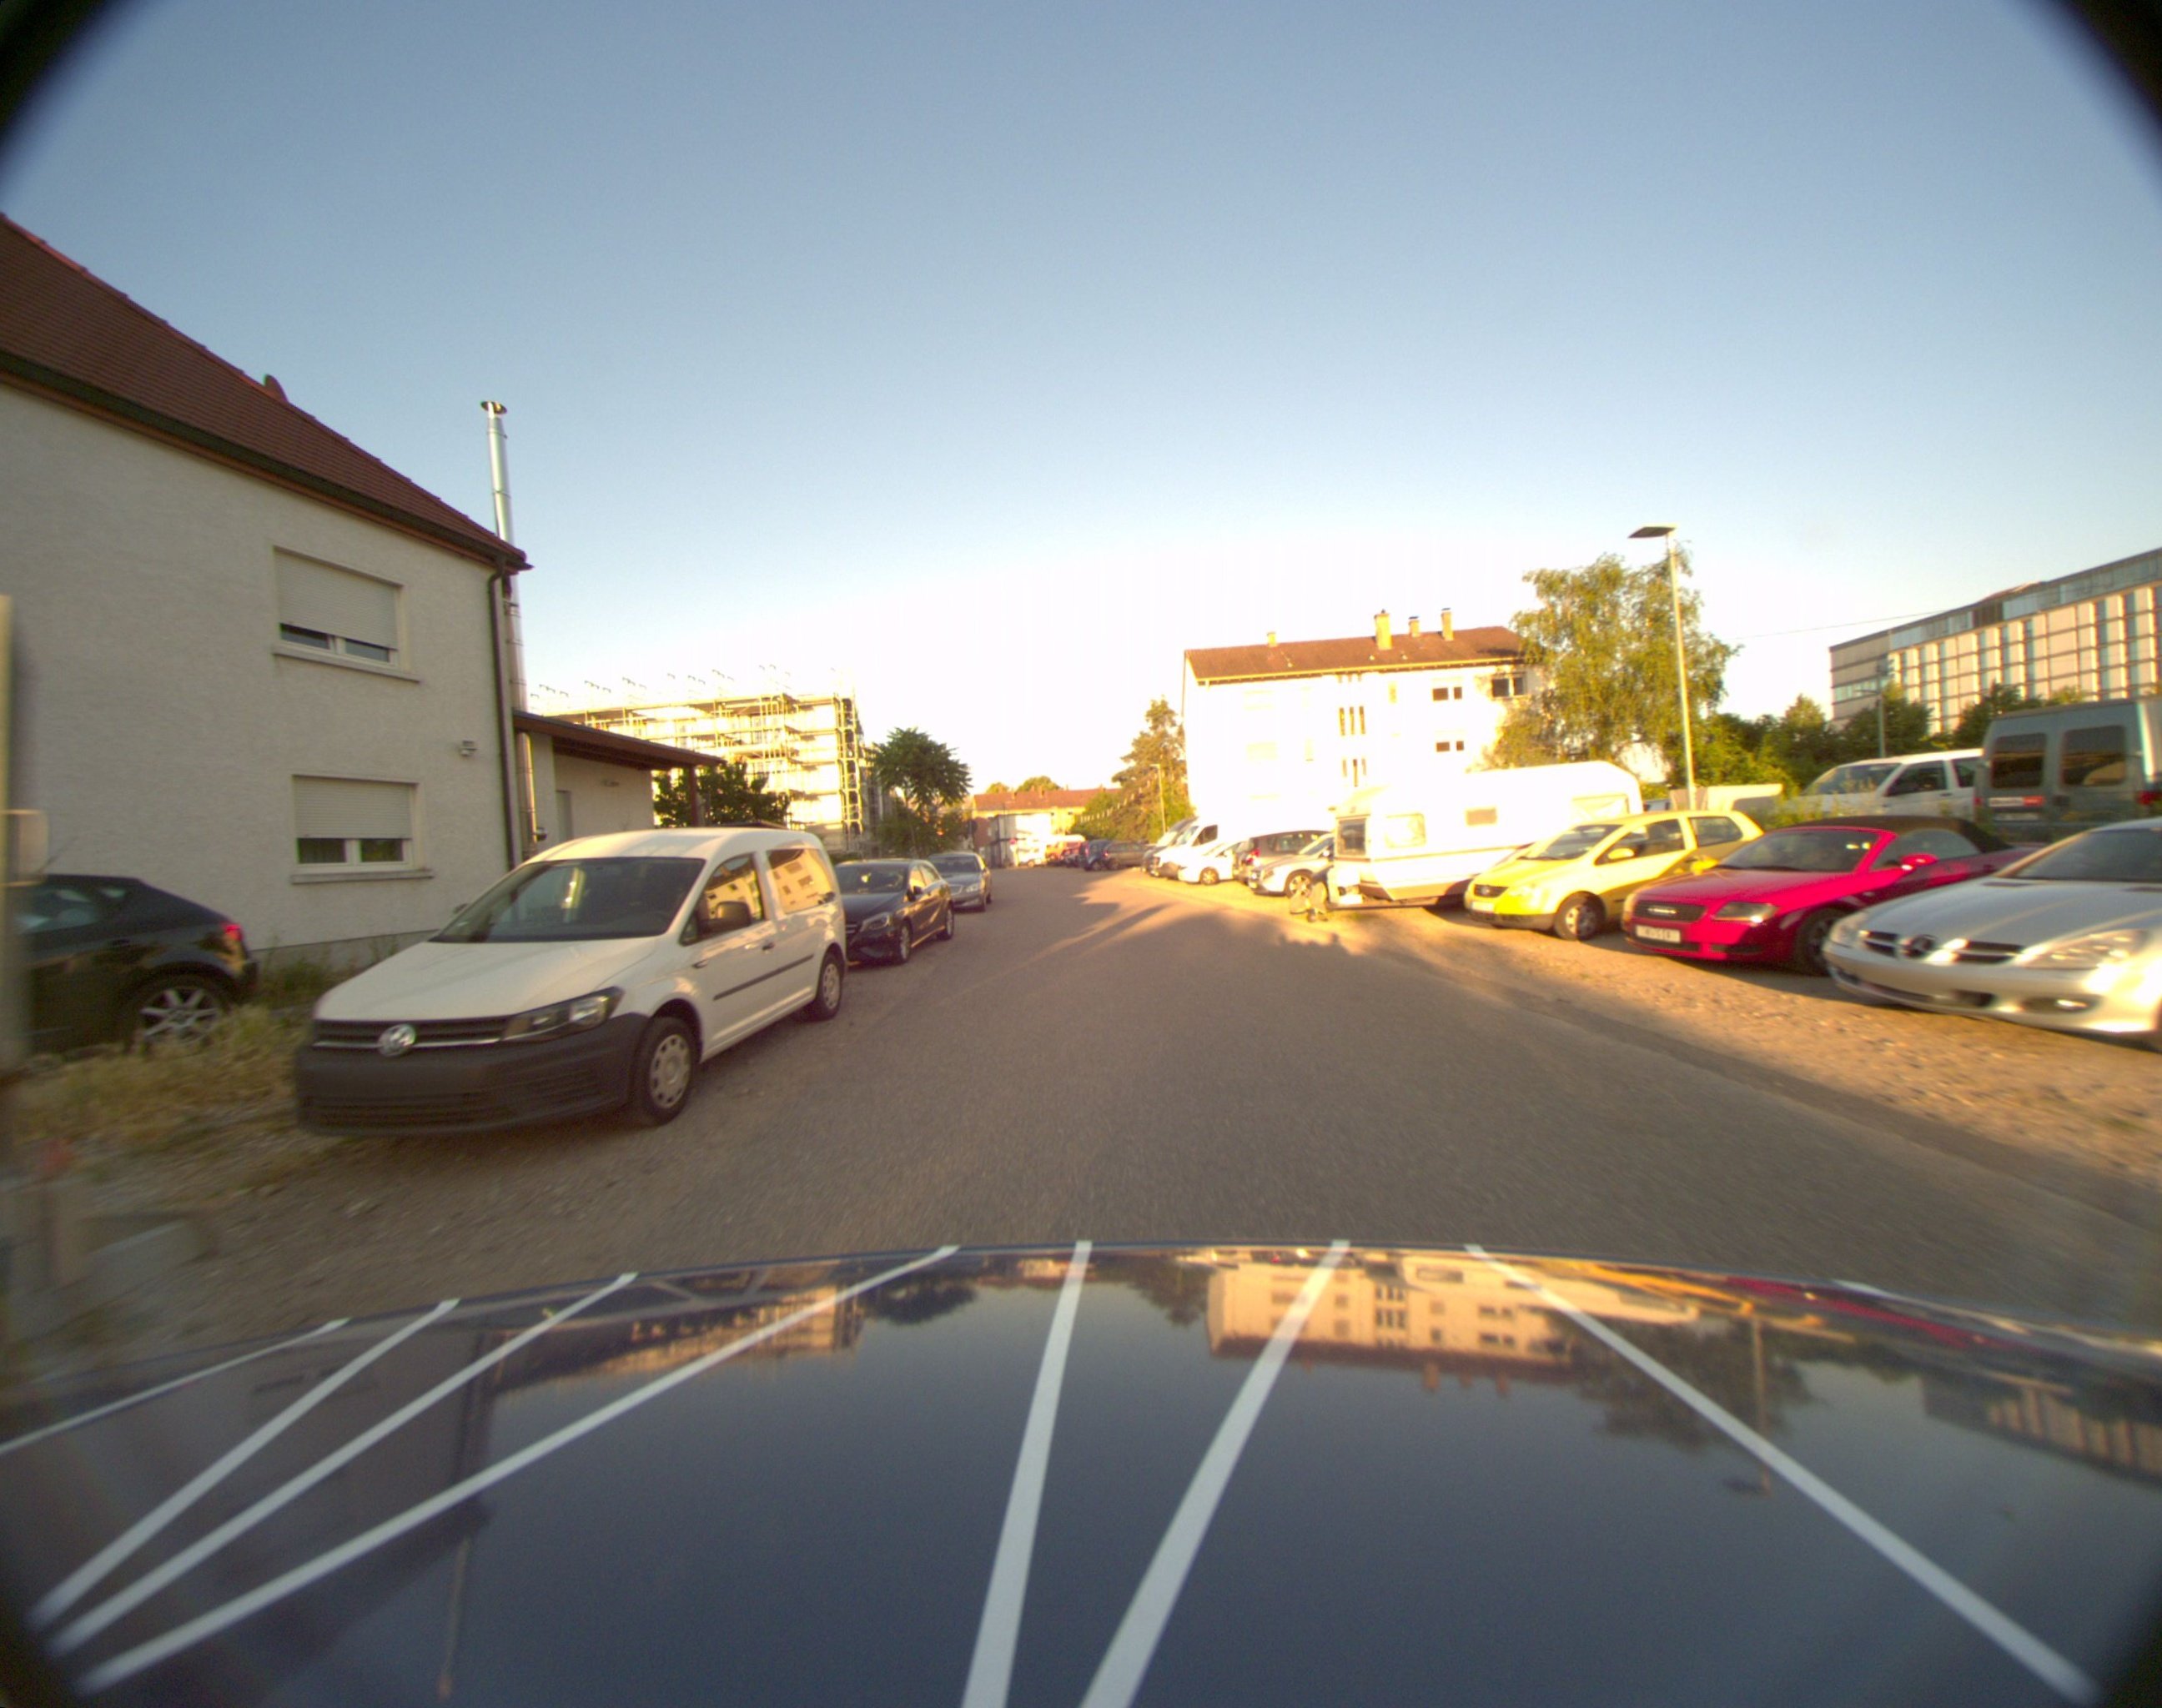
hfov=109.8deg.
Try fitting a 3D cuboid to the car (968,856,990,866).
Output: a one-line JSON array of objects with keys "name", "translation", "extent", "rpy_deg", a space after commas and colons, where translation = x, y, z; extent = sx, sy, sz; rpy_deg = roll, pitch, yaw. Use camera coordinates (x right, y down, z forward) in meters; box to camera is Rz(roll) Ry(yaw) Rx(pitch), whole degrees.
[{"name": "car", "translation": [-17.913, 1.219, 133.728], "extent": [3.729, 1.507, 1.808], "rpy_deg": [-6, 1, -9]}]

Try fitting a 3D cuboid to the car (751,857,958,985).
[{"name": "car", "translation": [-3.214, 0.871, 11.722], "extent": [1.708, 1.510, 4.088], "rpy_deg": [-3, 0, 3]}]

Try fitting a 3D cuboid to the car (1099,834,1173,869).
[{"name": "car", "translation": [3.162, -0.139, 44.230], "extent": [3.936, 1.642, 1.747], "rpy_deg": [-6, 1, -3]}]

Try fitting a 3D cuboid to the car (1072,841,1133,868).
[{"name": "car", "translation": [1.524, 0.050, 55.665], "extent": [4.102, 1.617, 1.821], "rpy_deg": [-4, -3, -9]}]

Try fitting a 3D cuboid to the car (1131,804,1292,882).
[{"name": "car", "translation": [5.648, -0.517, 33.049], "extent": [6.410, 2.698, 2.110], "rpy_deg": [-6, 2, -13]}]

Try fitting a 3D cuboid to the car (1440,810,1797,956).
[{"name": "car", "translation": [7.130, 0.348, 10.317], "extent": [3.638, 1.510, 1.705], "rpy_deg": [-5, 1, -4]}]

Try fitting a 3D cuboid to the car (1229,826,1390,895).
[{"name": "car", "translation": [6.341, 0.182, 21.398], "extent": [3.935, 1.581, 1.748], "rpy_deg": [-4, 1, 2]}]

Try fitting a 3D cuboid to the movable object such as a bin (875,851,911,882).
[{"name": "movable object such as a bin", "translation": [-14.856, 0.961, 60.477], "extent": [2.072, 2.260, 8.360], "rpy_deg": [-3, 0, -10]}]

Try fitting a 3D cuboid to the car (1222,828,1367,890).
[{"name": "car", "translation": [6.632, 0.123, 23.815], "extent": [3.937, 1.582, 1.747], "rpy_deg": [-4, 2, -6]}]

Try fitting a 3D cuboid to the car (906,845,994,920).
[{"name": "car", "translation": [-3.382, 0.663, 20.443], "extent": [1.811, 1.714, 4.926], "rpy_deg": [-2, 0, -4]}]

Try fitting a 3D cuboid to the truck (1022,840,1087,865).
[{"name": "truck", "translation": [-2.672, -0.171, 75.219], "extent": [6.031, 2.031, 2.354], "rpy_deg": [-4, 1, -8]}]

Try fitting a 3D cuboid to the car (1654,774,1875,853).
[{"name": "car", "translation": [15.995, -0.915, 17.916], "extent": [3.613, 1.468, 1.665], "rpy_deg": [-5, 1, 1]}]

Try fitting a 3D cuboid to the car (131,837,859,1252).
[{"name": "car", "translation": [-3.291, 0.837, 5.633], "extent": [1.775, 1.820, 4.407], "rpy_deg": [-3, 1, 2]}]

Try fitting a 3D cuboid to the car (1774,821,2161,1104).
[{"name": "car", "translation": [7.184, 0.508, 4.949], "extent": [3.818, 1.321, 1.692], "rpy_deg": [-5, 1, -3]}]

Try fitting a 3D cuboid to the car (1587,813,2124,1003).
[{"name": "car", "translation": [7.488, 0.464, 7.589], "extent": [3.736, 1.359, 1.705], "rpy_deg": [-5, 1, -4]}]

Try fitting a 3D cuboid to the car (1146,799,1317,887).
[{"name": "car", "translation": [5.659, -0.429, 28.945], "extent": [5.843, 2.697, 2.049], "rpy_deg": [-6, 1, -8]}]

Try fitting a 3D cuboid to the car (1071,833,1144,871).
[{"name": "car", "translation": [1.610, -0.110, 46.466], "extent": [3.940, 1.900, 1.746], "rpy_deg": [-6, 1, -19]}]

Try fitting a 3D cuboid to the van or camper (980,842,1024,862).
[{"name": "van or camper", "translation": [-12.583, -0.326, 120.913], "extent": [6.475, 2.625, 2.405], "rpy_deg": [-6, 1, -10]}]

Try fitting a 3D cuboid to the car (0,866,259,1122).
[{"name": "car", "translation": [-7.638, 0.973, 4.158], "extent": [1.639, 1.511, 3.904], "rpy_deg": [-3, 2, 9]}]

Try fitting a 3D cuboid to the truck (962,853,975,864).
[{"name": "truck", "translation": [-22.636, 0.861, 152.510], "extent": [1.844, 2.090, 3.735], "rpy_deg": [-6, 1, -18]}]

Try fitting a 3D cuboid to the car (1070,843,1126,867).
[{"name": "car", "translation": [1.211, 0.066, 55.442], "extent": [3.936, 1.508, 1.642], "rpy_deg": [-4, 1, -2]}]

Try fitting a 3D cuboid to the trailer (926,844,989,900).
[{"name": "trailer", "translation": [-4.292, 0.571, 27.076], "extent": [1.736, 1.767, 4.935], "rpy_deg": [-2, 0, -4]}]

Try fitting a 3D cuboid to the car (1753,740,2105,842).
[{"name": "car", "translation": [16.424, -1.161, 14.971], "extent": [4.376, 1.468, 1.983], "rpy_deg": [-5, 1, 6]}]

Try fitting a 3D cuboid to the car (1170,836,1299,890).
[{"name": "car", "translation": [5.252, 0.284, 26.233], "extent": [3.937, 1.498, 1.789], "rpy_deg": [-4, 1, -5]}]

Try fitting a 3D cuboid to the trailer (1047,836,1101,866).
[{"name": "trailer", "translation": [-0.670, -0.340, 72.548], "extent": [4.806, 2.419, 2.132], "rpy_deg": [-5, 2, -4]}]

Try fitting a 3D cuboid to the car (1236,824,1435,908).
[{"name": "car", "translation": [6.123, 0.260, 18.552], "extent": [4.138, 1.582, 1.747], "rpy_deg": [-5, 1, -5]}]

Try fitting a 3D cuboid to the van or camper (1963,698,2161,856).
[{"name": "van or camper", "translation": [14.995, -1.097, 9.971], "extent": [4.347, 1.880, 1.933], "rpy_deg": [-5, 1, 3]}]

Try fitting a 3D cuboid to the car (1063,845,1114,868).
[{"name": "car", "translation": [0.605, 0.171, 63.723], "extent": [4.047, 1.610, 1.849], "rpy_deg": [-4, 1, -2]}]

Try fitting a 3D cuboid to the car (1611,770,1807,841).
[{"name": "car", "translation": [16.202, -1.220, 19.740], "extent": [3.613, 1.468, 1.665], "rpy_deg": [-5, 1, 1]}]

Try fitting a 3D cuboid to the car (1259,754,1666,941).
[{"name": "car", "translation": [6.514, -0.130, 13.580], "extent": [5.903, 2.519, 2.411], "rpy_deg": [-5, 2, 0]}]

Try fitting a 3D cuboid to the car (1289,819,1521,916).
[{"name": "car", "translation": [6.856, 0.256, 16.330], "extent": [4.137, 1.582, 1.747], "rpy_deg": [-5, 1, -3]}]
